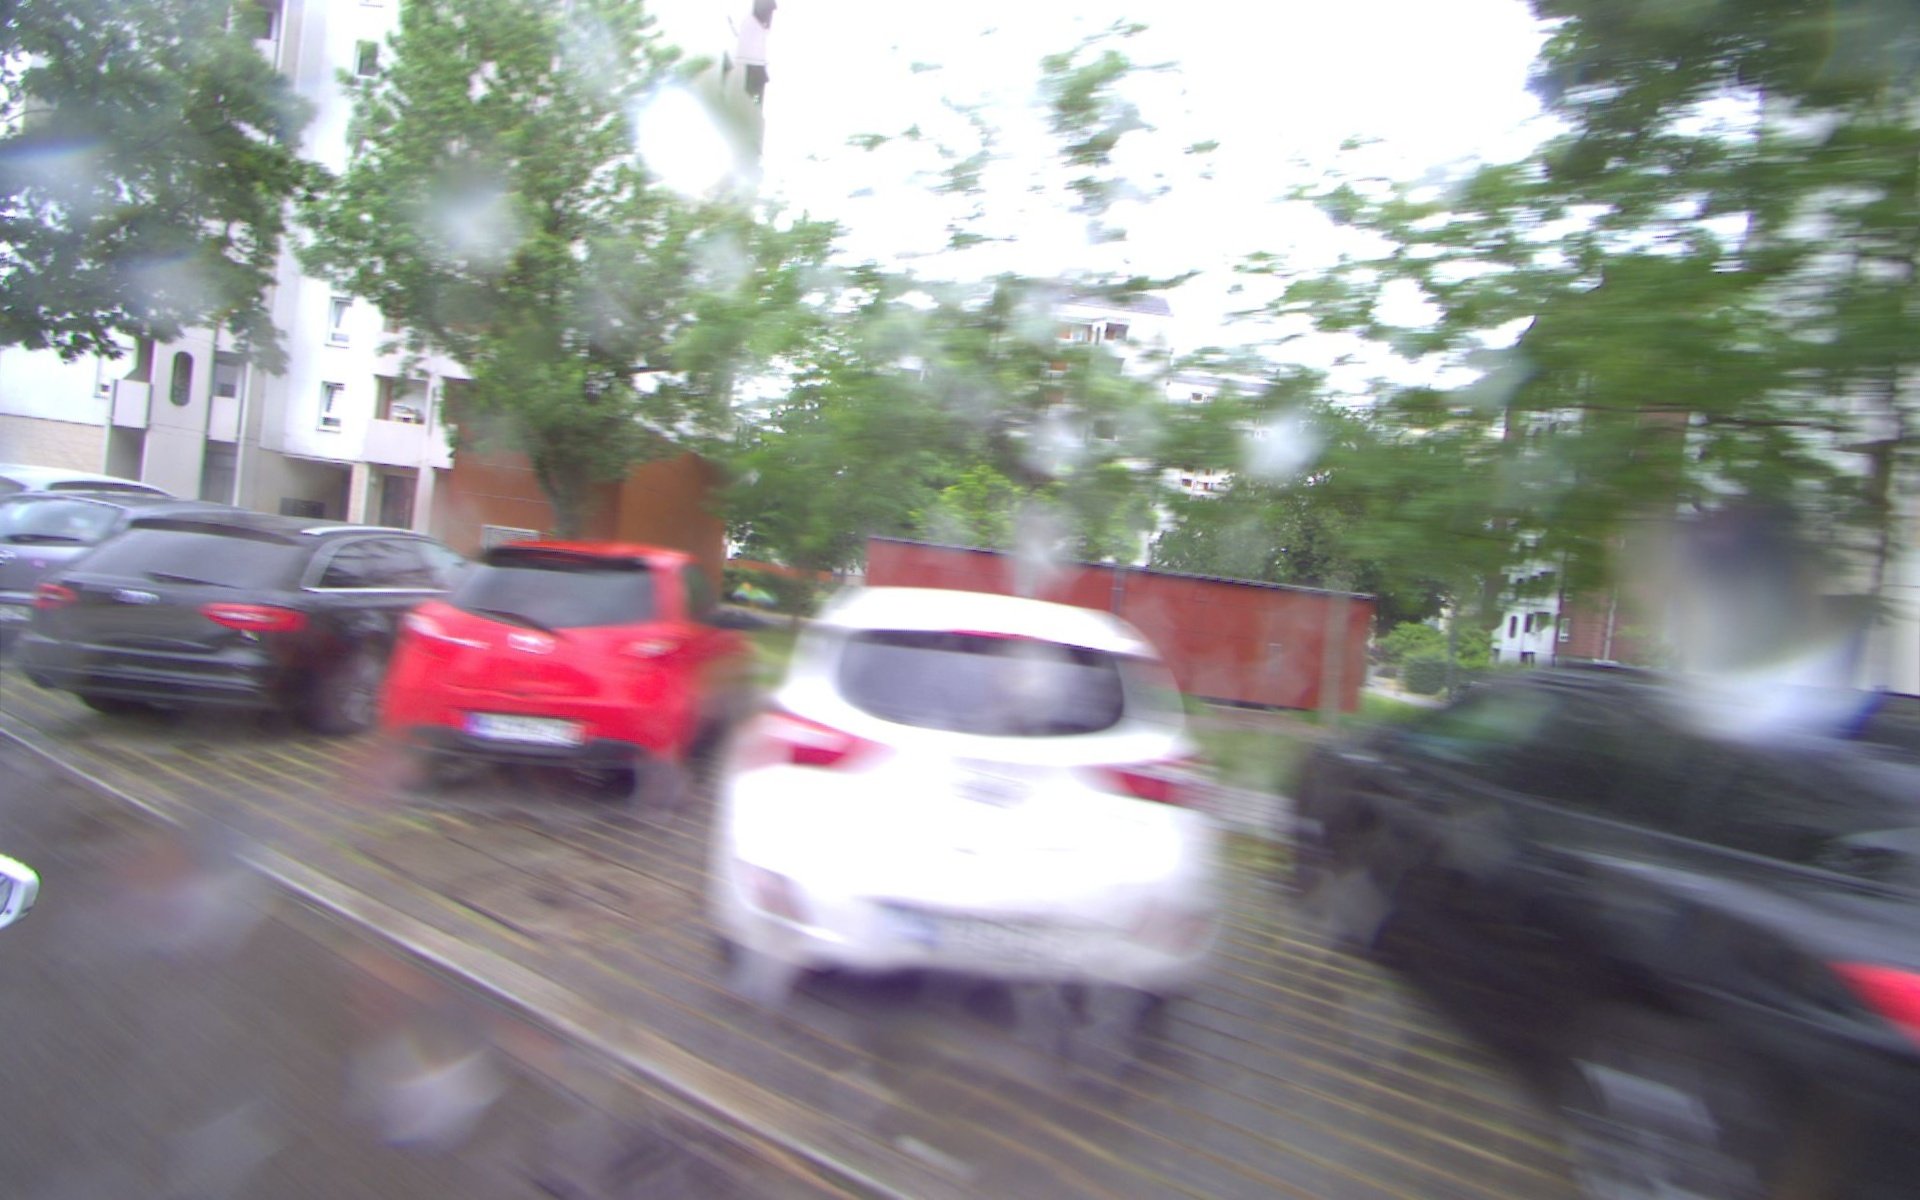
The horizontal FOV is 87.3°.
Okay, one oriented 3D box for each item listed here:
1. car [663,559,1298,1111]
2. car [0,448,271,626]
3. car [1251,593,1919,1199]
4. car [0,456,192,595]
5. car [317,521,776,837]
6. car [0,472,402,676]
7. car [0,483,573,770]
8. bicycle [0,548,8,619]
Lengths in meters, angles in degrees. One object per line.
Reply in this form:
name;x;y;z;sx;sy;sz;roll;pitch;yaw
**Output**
car;-0.013;0.652;5.289;1.786;1.485;4.453;7;3;-2
car;-10.355;-0.821;11.804;1.781;1.694;4.450;6;3;-7
car;2.581;0.910;3.677;1.653;1.563;4.455;5;3;1
car;-12.811;-1.067;13.678;1.654;1.694;4.177;6;3;-4
car;-2.504;0.299;7.344;1.778;1.447;4.451;6;3;-6
car;-7.525;-0.345;9.797;1.736;1.429;4.453;7;3;-2
car;-4.742;0.048;7.895;1.654;1.447;4.454;7;3;-1
bicycle;-6.281;0.157;5.749;1.914;1.106;0.537;6;0;27
